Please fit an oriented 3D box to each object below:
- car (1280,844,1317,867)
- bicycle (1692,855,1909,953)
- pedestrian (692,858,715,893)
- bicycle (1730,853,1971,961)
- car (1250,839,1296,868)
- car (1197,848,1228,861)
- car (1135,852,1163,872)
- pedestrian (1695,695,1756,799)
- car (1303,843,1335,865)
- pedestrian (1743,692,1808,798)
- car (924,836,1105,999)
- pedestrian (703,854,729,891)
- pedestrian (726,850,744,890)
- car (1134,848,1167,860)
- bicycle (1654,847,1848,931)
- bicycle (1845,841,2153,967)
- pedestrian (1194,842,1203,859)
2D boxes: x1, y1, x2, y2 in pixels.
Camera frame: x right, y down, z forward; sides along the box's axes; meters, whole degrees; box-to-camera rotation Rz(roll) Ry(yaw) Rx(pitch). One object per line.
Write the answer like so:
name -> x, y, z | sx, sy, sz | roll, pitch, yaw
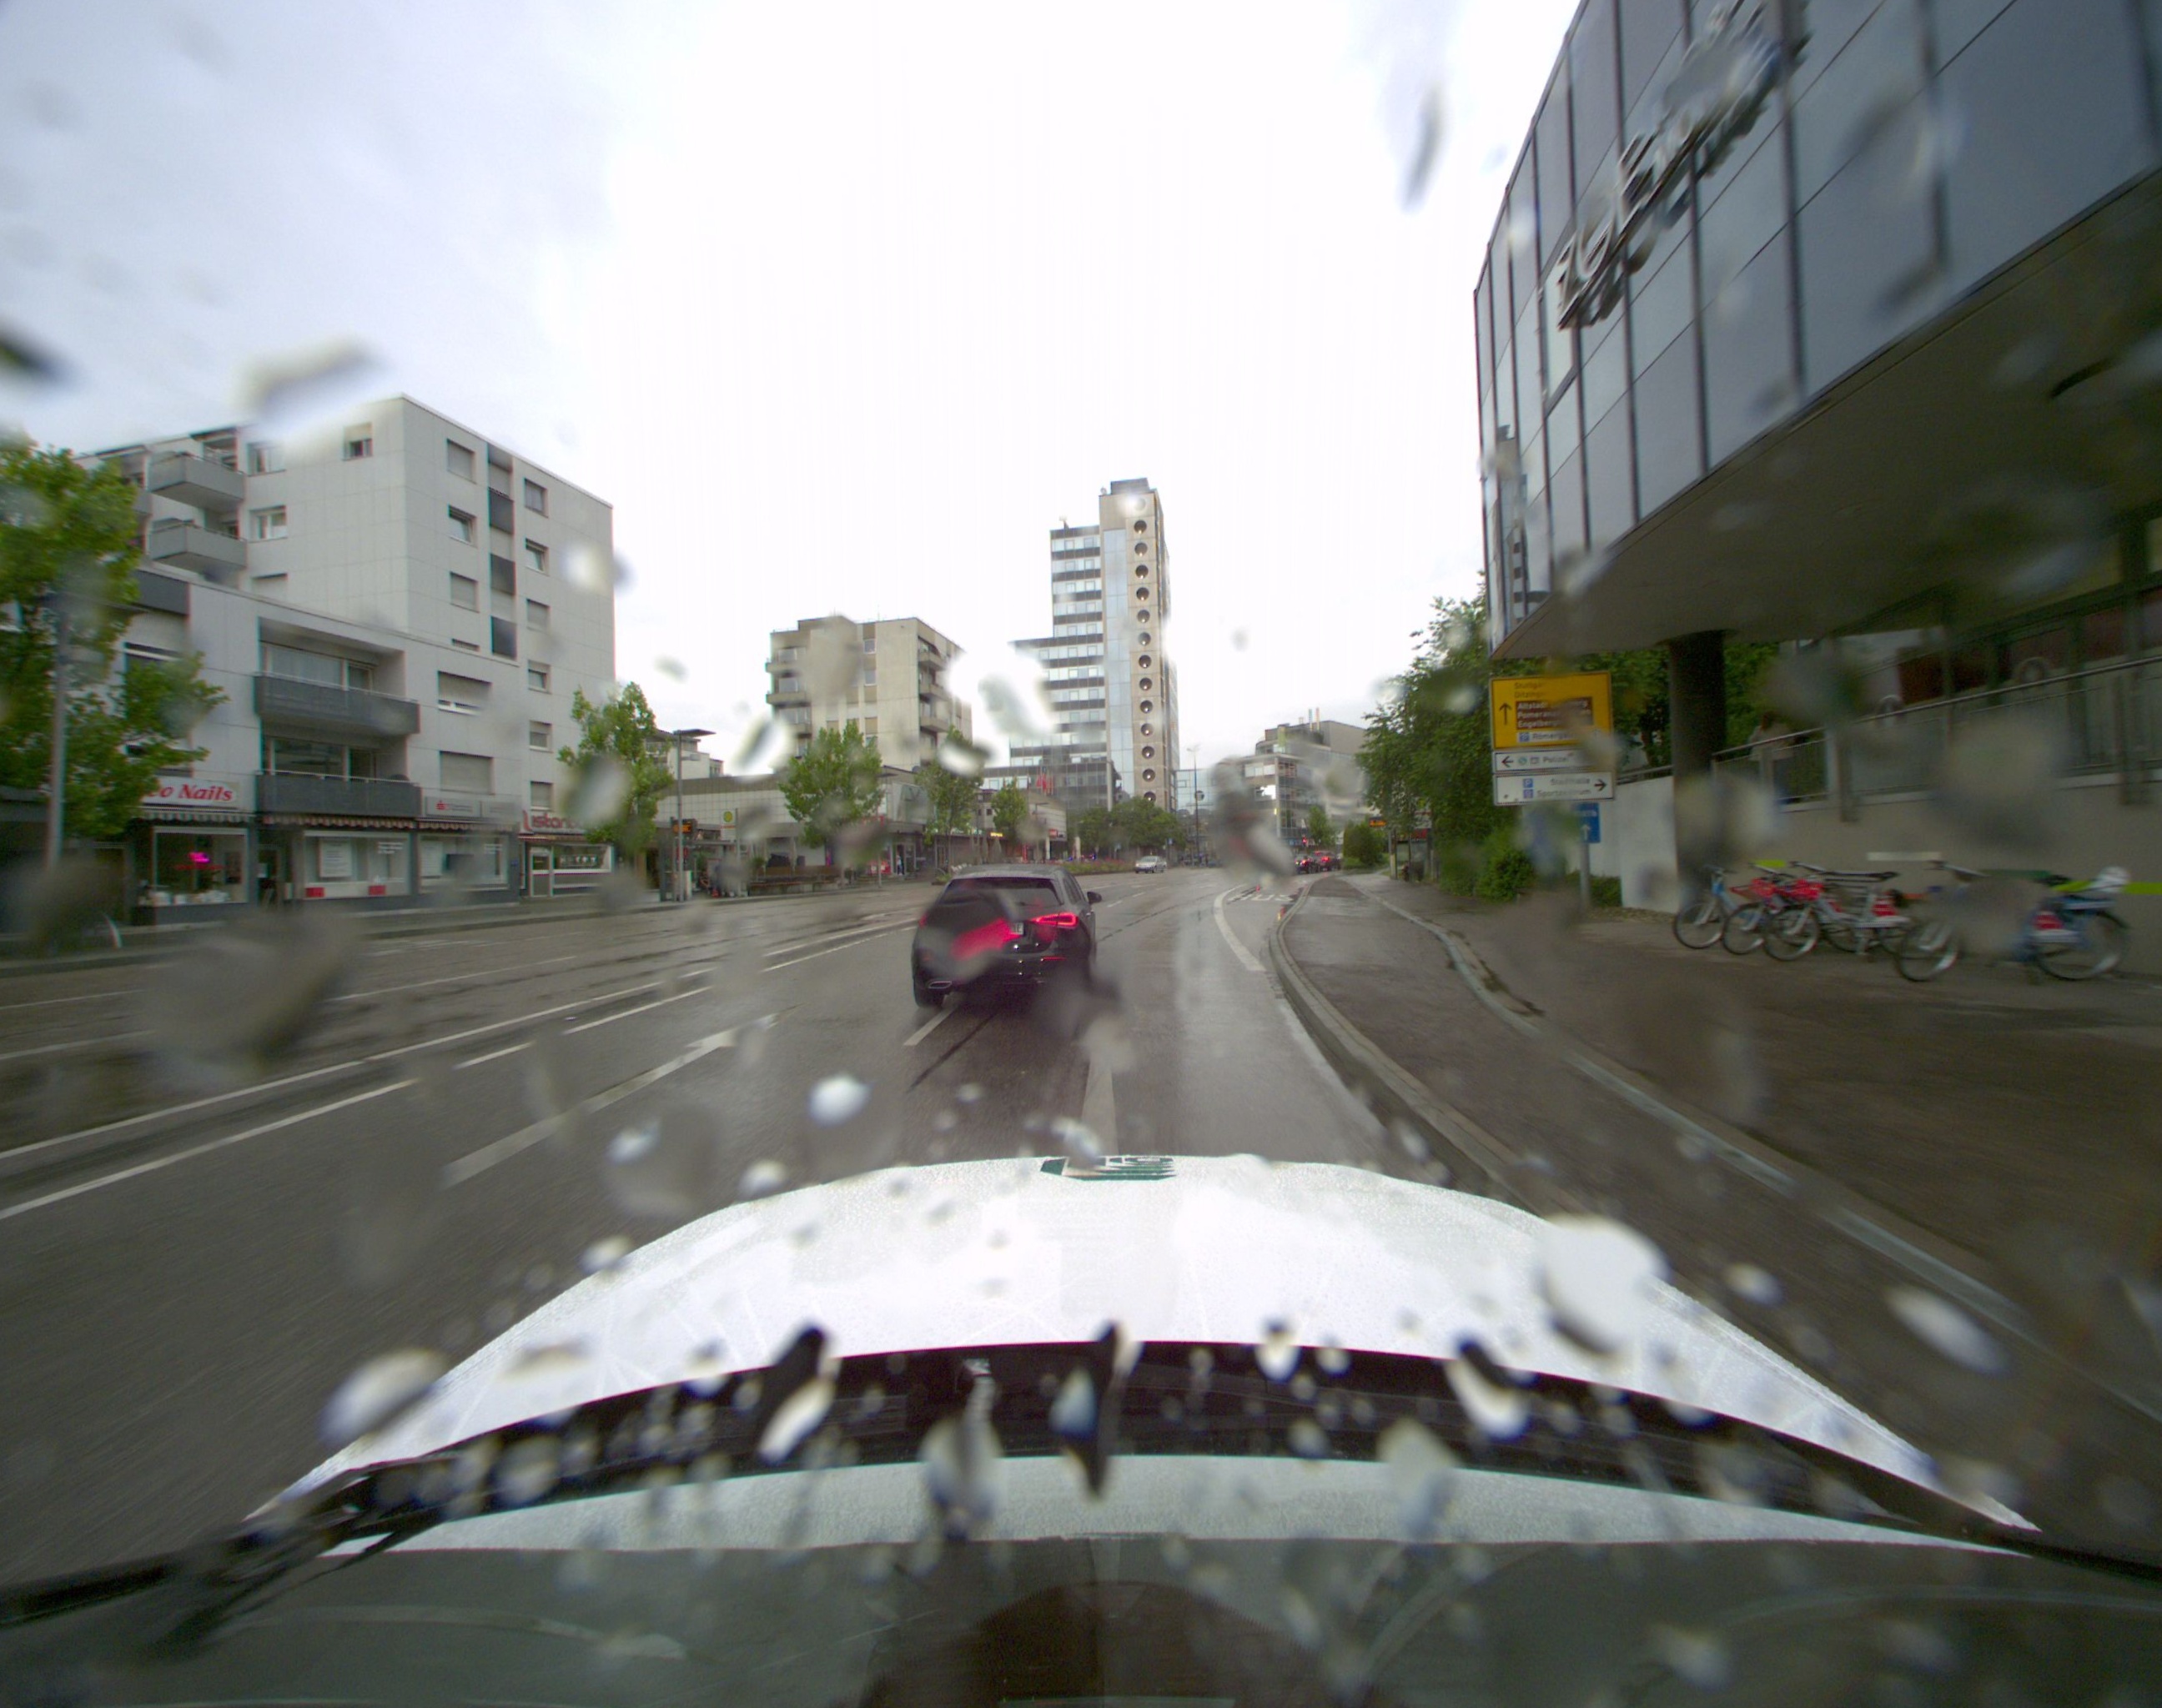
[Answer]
car -> 16.355, 0.095, 61.118 | 1.869, 1.672, 4.024 | -1, 0, 26
bicycle -> 8.541, 0.596, 9.741 | 1.838, 1.033, 0.630 | -4, -2, 9
pedestrian -> -16.186, 0.938, 34.948 | 0.631, 1.470, 0.637 | -1, 0, 3
bicycle -> 8.424, 0.578, 8.989 | 1.838, 1.042, 0.649 | -4, -2, 9
car -> 12.917, -0.053, 54.532 | 2.024, 1.895, 4.164 | -1, 0, 27
car -> 16.645, 0.025, 103.197 | 3.856, 1.518, 1.790 | -1, 0, 9
car -> 5.867, 0.649, 69.924 | 1.679, 1.632, 3.526 | -1, 0, 15
pedestrian -> 11.168, -1.830, 14.124 | 0.648, 1.713, 0.602 | 0, 1, 14
car -> 19.588, -0.002, 66.937 | 1.893, 1.725, 3.831 | -1, 0, 26
pedestrian -> 11.827, -1.832, 13.876 | 0.648, 1.713, 0.602 | 0, 1, 14
car -> -0.610, 0.581, 9.653 | 1.657, 1.481, 4.094 | -1, 0, 0
pedestrian -> -16.071, 0.810, 35.835 | 0.791, 1.571, 0.637 | -1, 0, 3
pedestrian -> -15.330, 0.707, 36.058 | 0.484, 1.718, 0.539 | -1, 0, 7
car -> 8.632, 0.031, 101.134 | 3.964, 1.384, 1.732 | -1, 0, 8
bicycle -> 8.550, 0.447, 10.458 | 1.836, 0.951, 0.538 | -4, 0, 12
bicycle -> 8.288, 0.454, 7.431 | 1.838, 1.023, 0.634 | -3, -2, 9
pedestrian -> 12.702, -0.375, 88.033 | 0.799, 1.754, 0.816 | -1, 0, 18
